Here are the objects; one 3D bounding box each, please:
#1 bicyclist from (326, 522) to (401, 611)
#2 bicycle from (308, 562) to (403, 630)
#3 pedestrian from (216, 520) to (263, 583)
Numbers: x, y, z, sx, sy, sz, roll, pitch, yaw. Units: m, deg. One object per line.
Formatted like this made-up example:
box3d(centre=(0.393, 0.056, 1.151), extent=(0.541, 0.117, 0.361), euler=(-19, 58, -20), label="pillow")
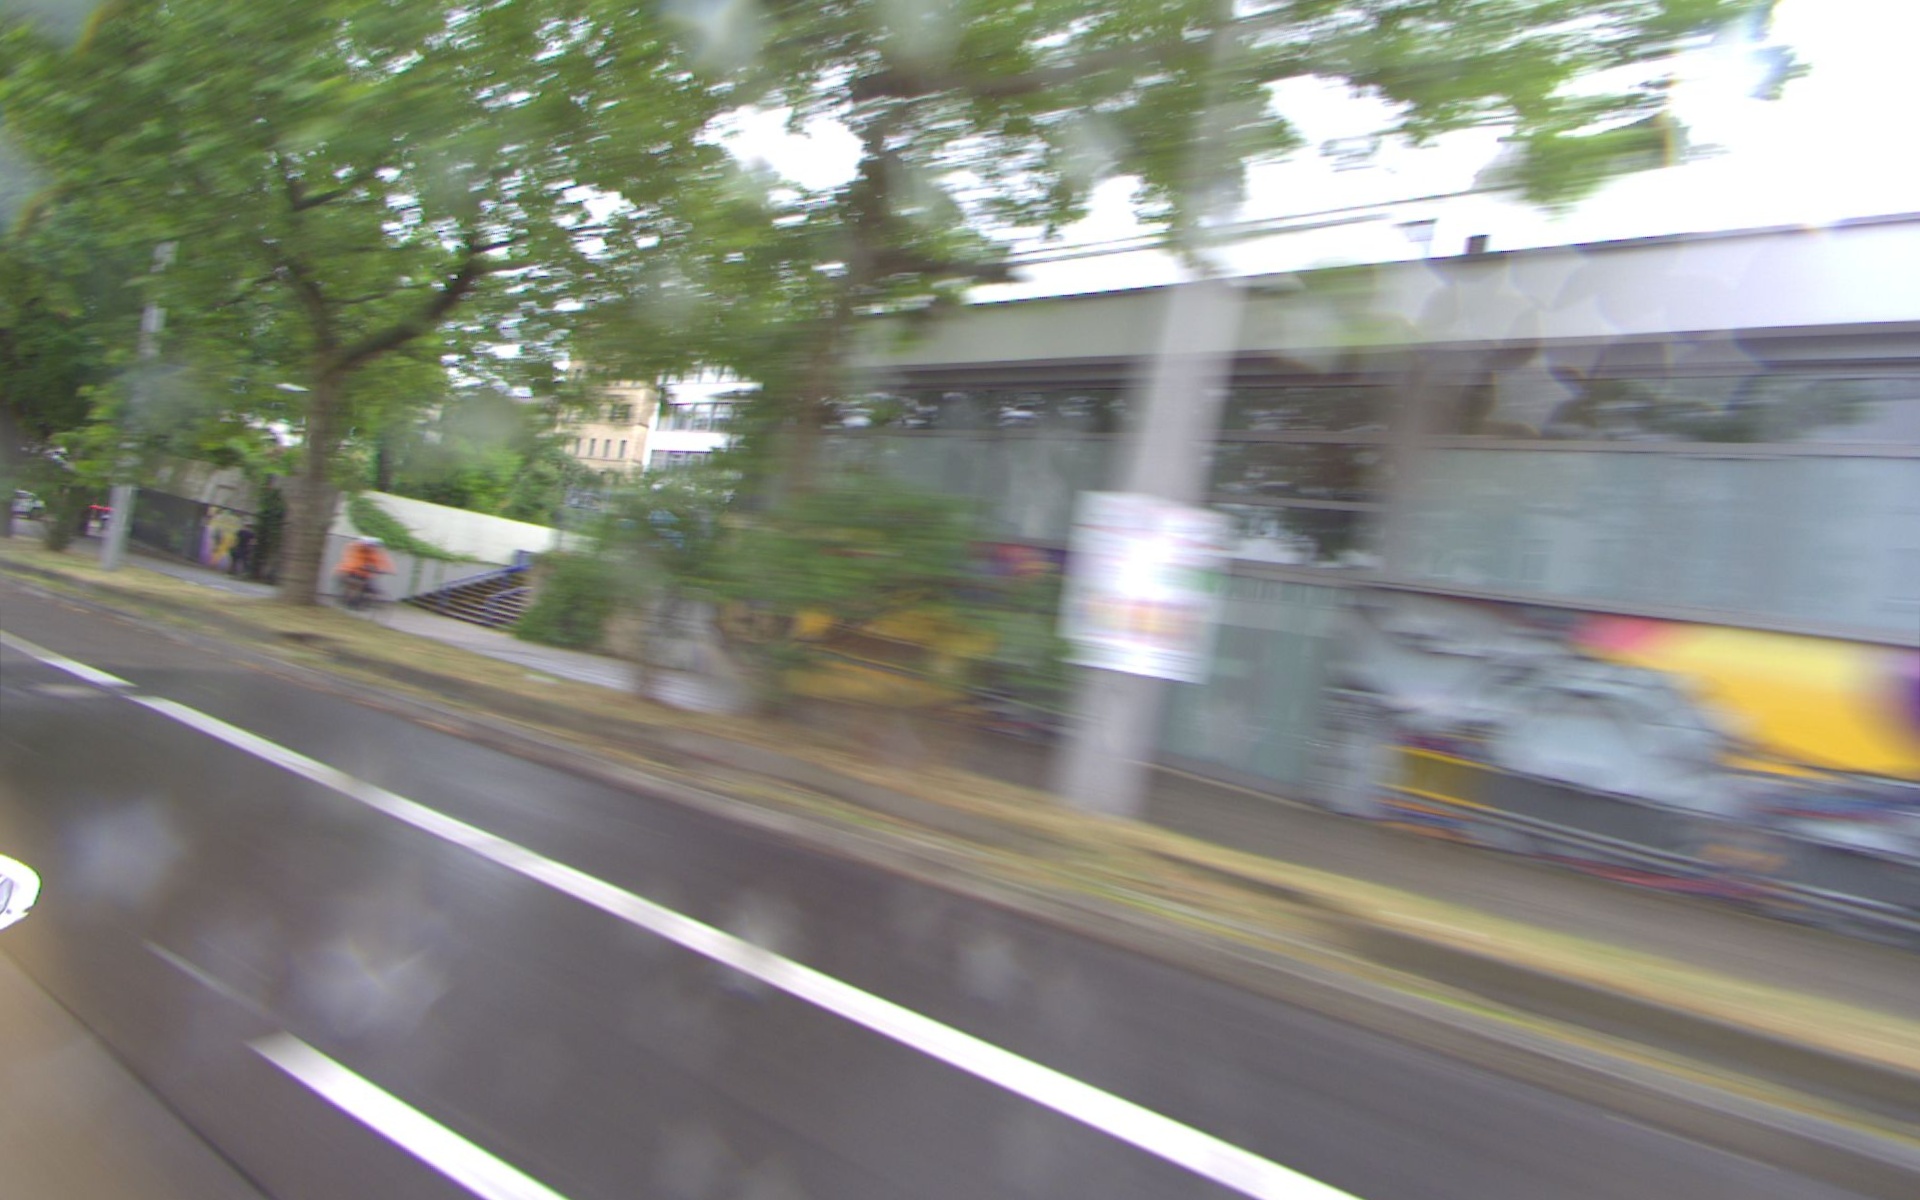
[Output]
box3d(centre=(-12.207, -0.678, 20.586), extent=(1.030, 1.646, 0.807), euler=(7, -2, 37), label="bicyclist")
box3d(centre=(-12.446, -0.091, 20.679), extent=(2.164, 1.124, 0.807), euler=(7, -2, 37), label="bicycle")
box3d(centre=(-23.231, -1.565, 32.437), extent=(1.040, 1.886, 0.807), euler=(7, -1, 39), label="pedestrian")
